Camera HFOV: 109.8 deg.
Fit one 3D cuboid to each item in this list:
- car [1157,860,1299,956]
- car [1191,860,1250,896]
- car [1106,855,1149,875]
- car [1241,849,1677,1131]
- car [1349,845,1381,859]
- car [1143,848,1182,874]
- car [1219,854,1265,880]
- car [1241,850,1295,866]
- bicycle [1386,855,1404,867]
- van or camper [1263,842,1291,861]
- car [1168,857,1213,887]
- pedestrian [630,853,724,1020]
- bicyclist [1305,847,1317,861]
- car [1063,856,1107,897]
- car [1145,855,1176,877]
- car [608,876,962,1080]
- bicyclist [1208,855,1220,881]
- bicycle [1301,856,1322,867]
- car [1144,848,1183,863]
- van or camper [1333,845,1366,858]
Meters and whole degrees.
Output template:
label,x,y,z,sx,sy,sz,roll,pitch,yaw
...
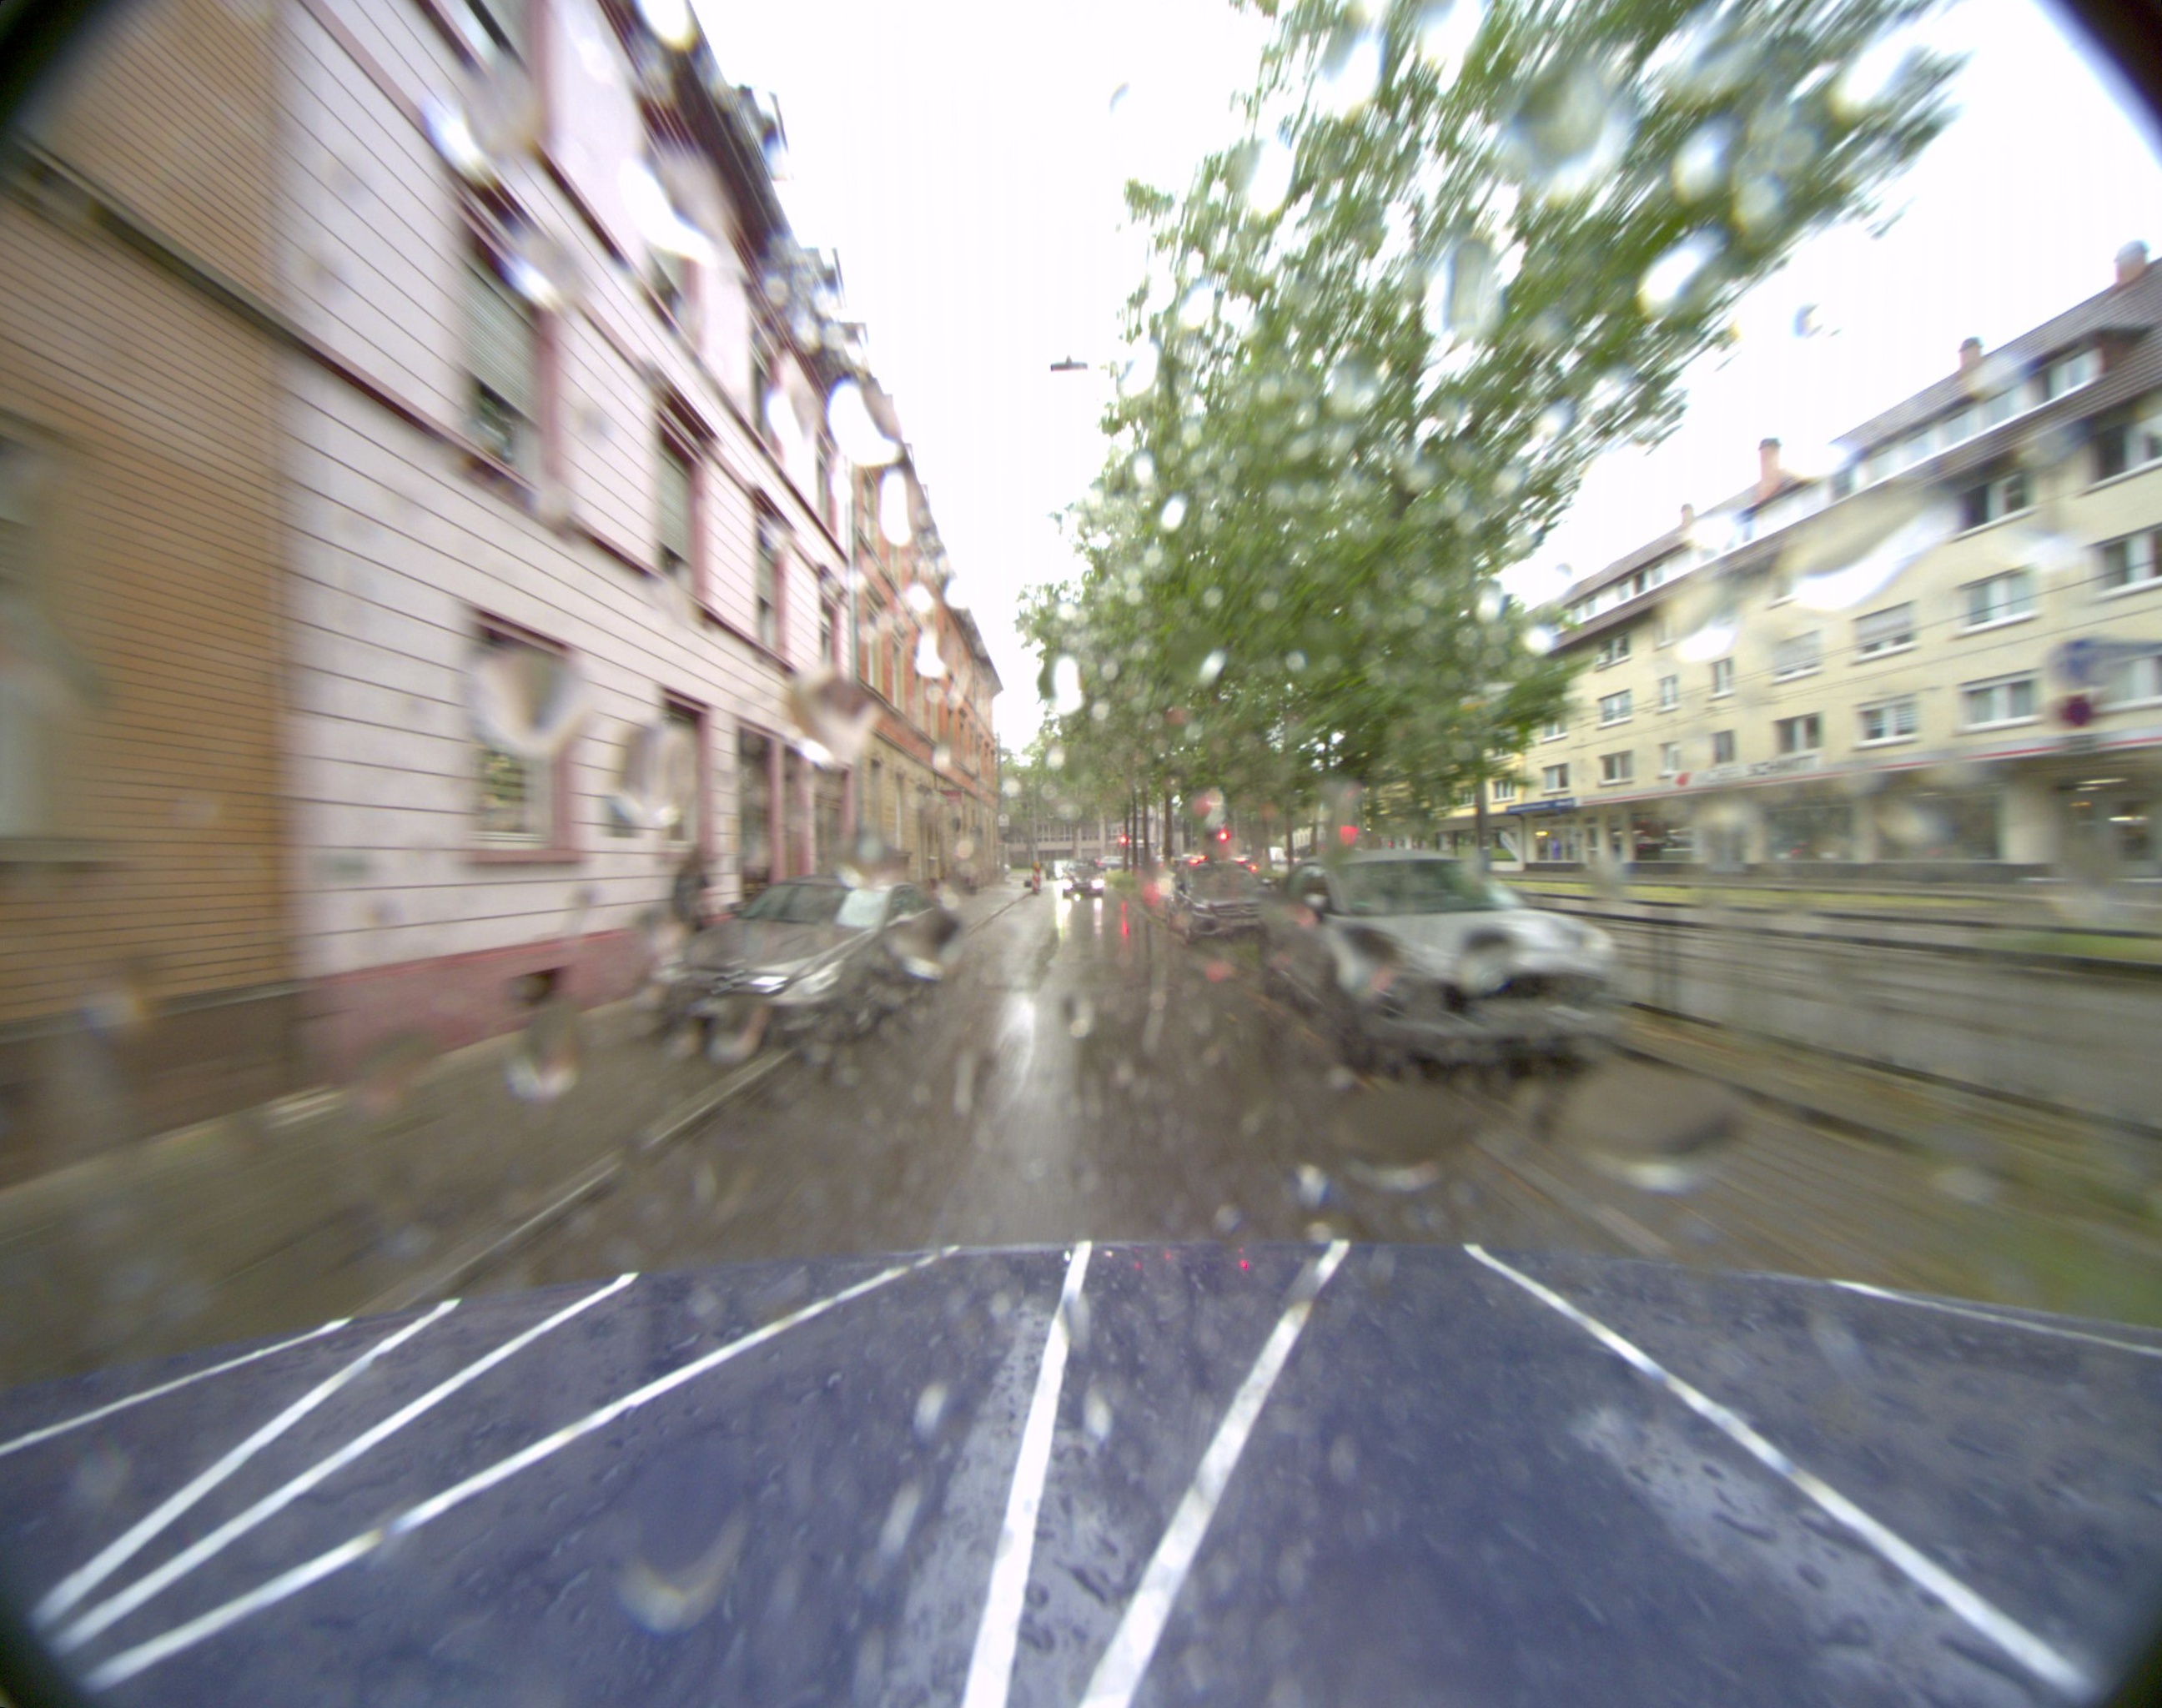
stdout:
label,x,y,z,sx,sy,sz,roll,pitch,yaw
car,2.741,0.938,15.297,1.833,1.495,4.613,-3,0,-1
car,5.983,0.982,33.082,1.746,1.389,4.233,-2,0,0
car,4.866,1.168,79.612,4.002,2.002,1.997,0,2,-16
car,2.680,0.803,6.644,1.703,1.626,4.355,-1,0,1
car,42.542,-0.256,114.009,4.389,2.002,2.069,-1,1,16
car,5.141,0.430,48.497,1.861,1.476,4.639,-2,0,-1
car,9.327,0.753,44.269,1.746,1.389,4.130,-2,0,0
car,20.296,0.420,82.335,5.337,1.583,1.947,-2,0,-12
bicycle,24.447,0.563,59.205,0.613,0.891,2.046,-1,0,1
van or camper,28.454,-0.382,110.289,2.176,2.457,5.981,-1,1,33
car,5.767,0.929,40.511,1.746,1.471,4.432,-2,0,0
pedestrian,-4.209,0.837,7.956,0.640,1.675,0.603,1,0,-1
bicyclist,24.249,0.008,80.086,0.805,1.462,0.927,-2,2,-11
car,0.173,1.017,36.423,1.913,1.637,4.679,-2,1,0
car,5.741,0.846,55.058,1.739,1.480,4.500,-2,0,0
car,-2.708,1.038,8.322,1.818,1.412,4.697,2,0,3
bicyclist,9.152,0.964,52.349,0.714,1.706,0.890,-1,2,2
bicycle,24.294,0.793,80.060,1.997,1.081,0.819,-2,0,-3
car,9.910,0.147,91.152,4.564,1.650,1.783,-2,2,-33
van or camper,43.115,-0.379,122.158,4.648,2.063,2.001,0,1,9
